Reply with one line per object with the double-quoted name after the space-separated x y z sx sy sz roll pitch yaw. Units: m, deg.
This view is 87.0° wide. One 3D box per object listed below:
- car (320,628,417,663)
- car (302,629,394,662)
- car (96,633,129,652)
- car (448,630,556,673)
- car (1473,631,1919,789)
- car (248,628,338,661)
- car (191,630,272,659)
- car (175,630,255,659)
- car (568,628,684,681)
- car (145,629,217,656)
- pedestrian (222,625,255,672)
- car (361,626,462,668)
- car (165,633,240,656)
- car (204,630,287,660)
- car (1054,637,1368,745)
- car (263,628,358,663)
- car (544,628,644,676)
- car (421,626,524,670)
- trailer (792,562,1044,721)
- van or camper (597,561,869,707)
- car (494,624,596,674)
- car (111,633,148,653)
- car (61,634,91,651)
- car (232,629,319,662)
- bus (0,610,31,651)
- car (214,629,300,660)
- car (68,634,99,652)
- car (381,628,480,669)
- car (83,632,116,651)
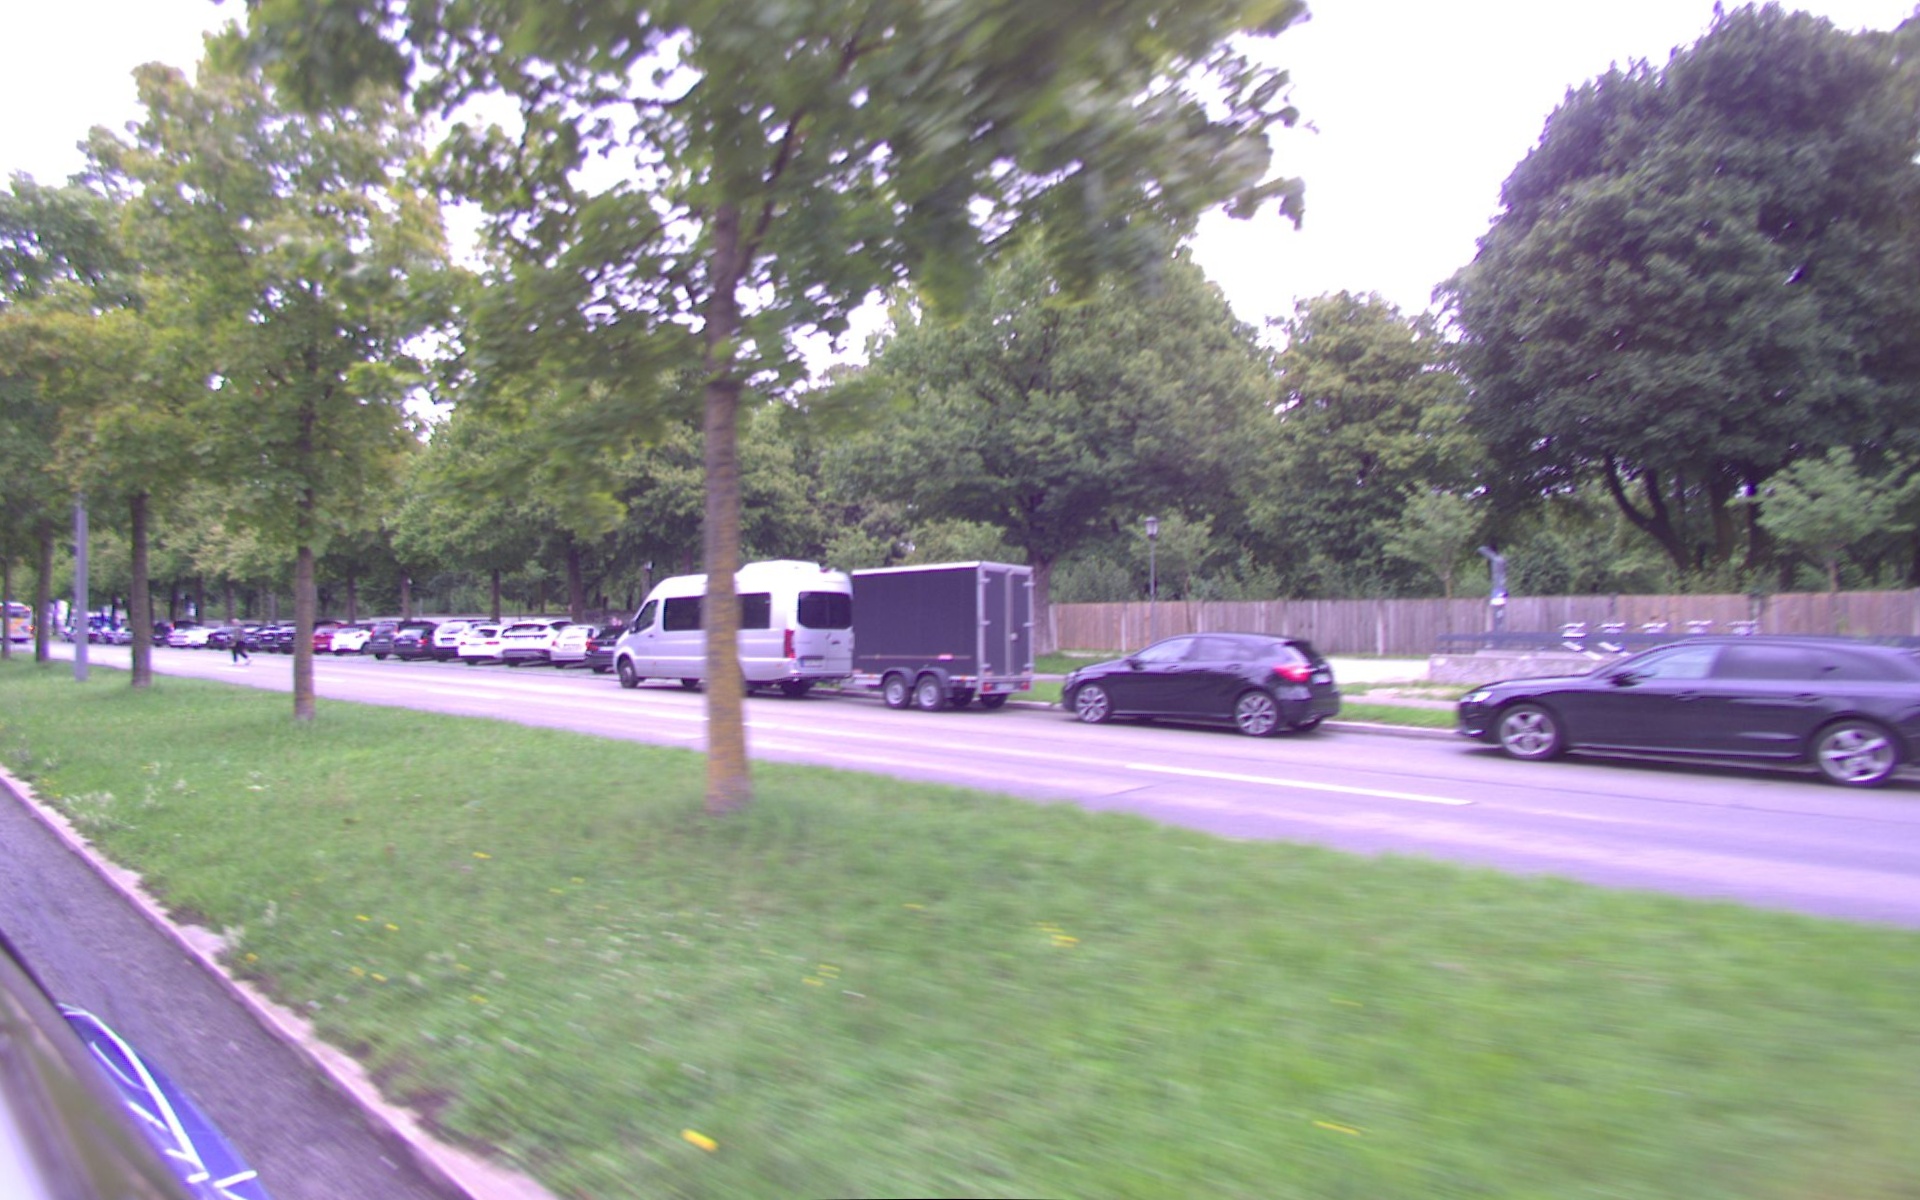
-29.025 2.207 49.806 1.873 1.474 3.983 -2 0 14 "car"
-31.268 2.304 51.868 1.723 1.466 3.983 -2 0 14 "car"
-68.871 3.422 82.255 1.717 1.381 4.171 -1 0 -44 "car"
-17.447 1.930 38.770 1.780 1.449 4.315 -1 0 7 "car"
8.180 1.073 10.900 4.429 1.436 1.781 -2 -3 42 "car"
-36.259 2.402 55.157 1.870 1.569 3.989 -2 0 9 "car"
-45.744 2.744 63.676 1.870 1.569 3.989 -2 0 9 "car"
-47.810 2.847 65.055 1.870 1.569 3.989 -2 0 9 "car"
-10.541 1.692 32.283 1.783 1.445 3.985 -1 0 11 "car"
-55.119 2.957 71.700 1.760 1.741 3.991 -1 0 7 "car"
-26.851 1.799 37.666 0.859 1.711 0.773 1 -2 -28 "pedestrian"
-24.523 2.059 45.389 1.783 1.599 3.984 -2 0 12 "car"
-50.262 2.932 67.197 1.575 1.376 3.986 -1 0 11 "car"
-43.450 2.699 61.635 1.870 1.569 3.989 -2 0 9 "car"
3.641 1.254 15.157 4.236 1.394 1.781 -2 -3 42 "car"
-34.040 2.359 53.186 1.873 1.569 3.983 -2 0 14 "car"
-12.628 1.761 35.167 1.779 1.477 3.994 -1 0 5 "car"
-19.929 1.940 41.574 1.780 1.585 4.315 -1 0 7 "car"
-0.882 0.775 18.963 4.657 2.610 1.995 -2 -3 42 "trailer"
-5.402 0.788 23.034 7.544 2.859 2.013 -2 -3 42 "van or camper"
-15.022 1.744 36.839 1.779 1.635 3.993 -1 0 5 "car"
-64.156 3.294 78.151 1.864 1.454 4.171 -1 0 -44 "car"
-83.471 3.965 95.544 1.864 1.454 4.171 -1 0 -44 "car"
-38.706 2.557 57.339 1.870 1.569 3.989 -2 0 9 "car"
-81.537 2.604 86.050 11.924 3.323 2.640 -1 -3 42 "bus"
-41.007 2.580 59.155 1.870 1.569 3.989 -2 0 9 "car"
-79.358 3.873 91.610 1.864 1.454 4.171 -1 0 -44 "car"
-22.493 2.039 43.165 1.780 1.497 3.992 -2 0 7 "car"
-73.094 3.480 85.930 1.864 1.454 4.171 -1 0 -44 "car"
